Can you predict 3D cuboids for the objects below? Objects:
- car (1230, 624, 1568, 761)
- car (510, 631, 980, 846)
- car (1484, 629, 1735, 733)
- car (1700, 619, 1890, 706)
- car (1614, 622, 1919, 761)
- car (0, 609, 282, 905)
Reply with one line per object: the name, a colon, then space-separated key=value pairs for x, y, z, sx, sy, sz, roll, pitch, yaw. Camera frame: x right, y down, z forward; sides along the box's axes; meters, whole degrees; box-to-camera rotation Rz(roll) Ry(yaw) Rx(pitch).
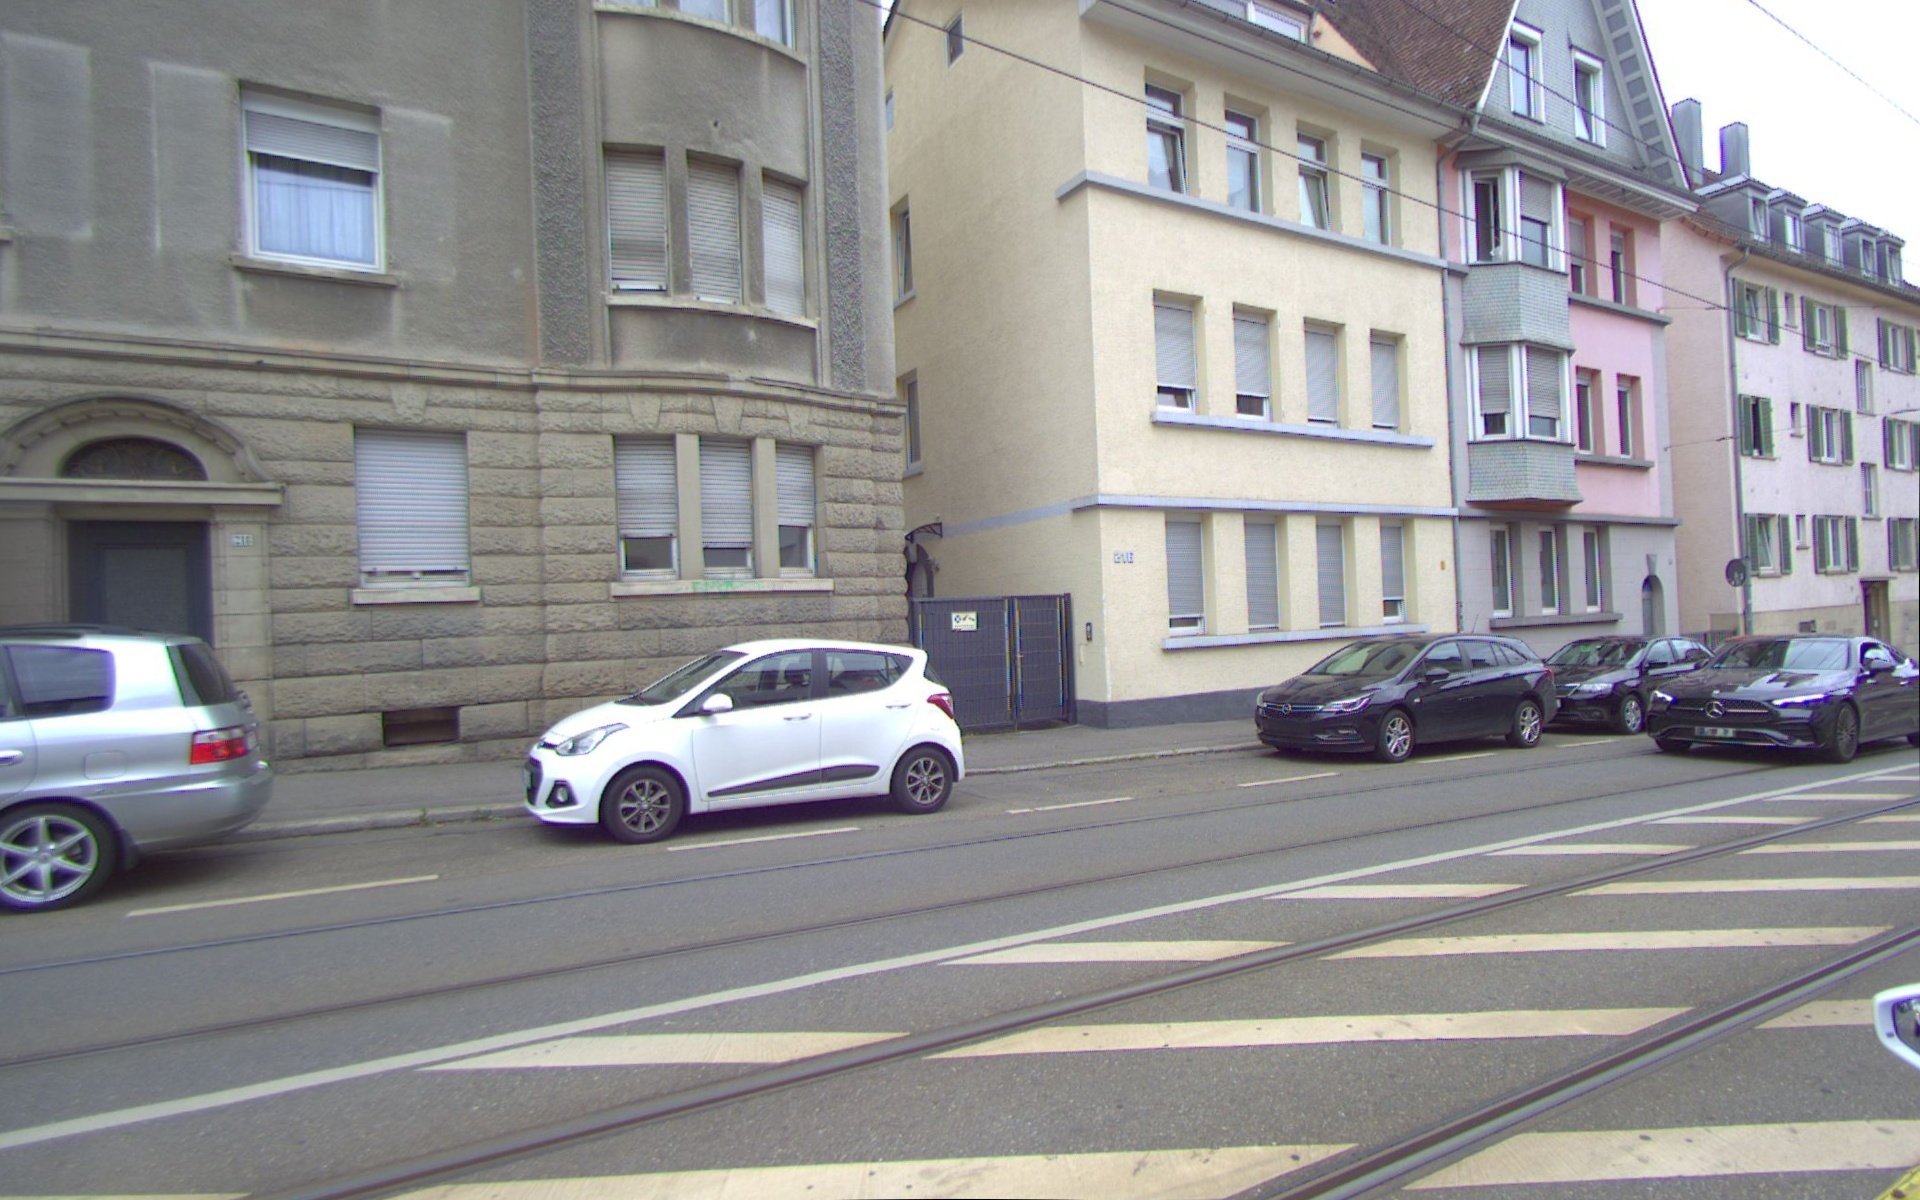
car: x=5.687 y=1.092 z=12.865 sx=4.502 sy=1.493 sz=1.613 roll=1 pitch=-3 yaw=-30
car: x=-1.790 y=1.031 z=8.605 sx=3.641 sy=1.482 sz=1.613 roll=1 pitch=-3 yaw=-30
car: x=10.236 y=1.189 z=15.786 sx=3.953 sy=1.428 sz=1.728 roll=1 pitch=-2 yaw=-30
car: x=16.114 y=1.173 z=19.350 sx=4.002 sy=1.509 sz=1.612 roll=1 pitch=-3 yaw=-32
car: x=10.299 y=1.010 z=12.473 sx=4.446 sy=1.443 sz=1.912 roll=1 pitch=-2 yaw=-31
car: x=-6.512 y=0.896 z=5.719 sx=4.302 sy=1.625 sz=1.612 roll=0 pitch=-2 yaw=-32
